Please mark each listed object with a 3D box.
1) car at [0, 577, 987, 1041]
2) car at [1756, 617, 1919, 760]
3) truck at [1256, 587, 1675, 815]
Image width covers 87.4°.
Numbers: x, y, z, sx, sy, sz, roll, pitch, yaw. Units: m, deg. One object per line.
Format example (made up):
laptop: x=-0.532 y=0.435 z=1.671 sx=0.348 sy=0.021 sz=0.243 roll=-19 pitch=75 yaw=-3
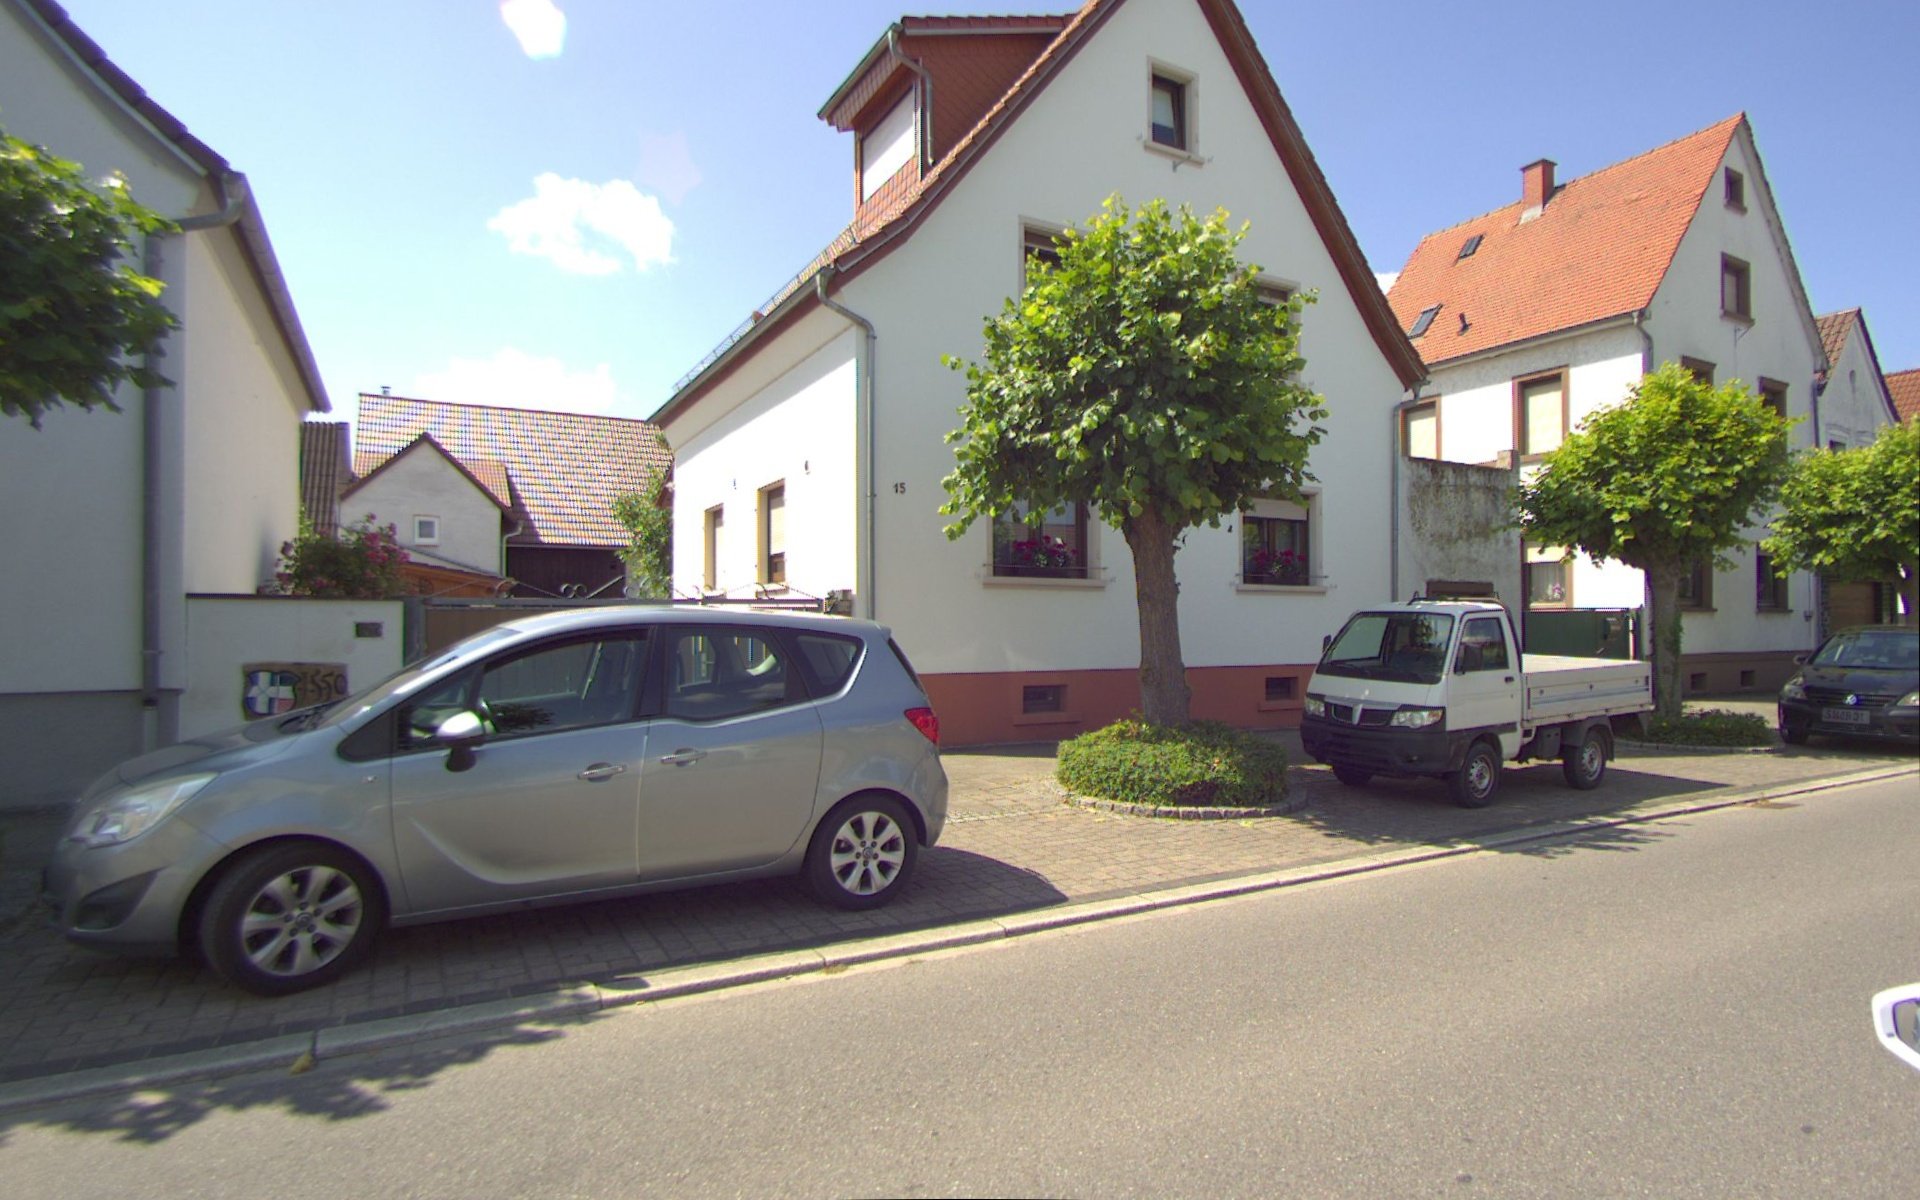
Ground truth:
car: x=-2.182 y=0.769 z=5.299 sx=4.319 sy=1.634 sz=1.844 roll=1 pitch=0 yaw=-30
car: x=12.510 y=1.091 z=13.551 sx=3.961 sy=1.655 sz=1.773 roll=1 pitch=-1 yaw=-36
truck: x=4.920 y=0.830 z=9.635 sx=4.143 sy=1.789 sz=1.568 roll=1 pitch=0 yaw=-30
